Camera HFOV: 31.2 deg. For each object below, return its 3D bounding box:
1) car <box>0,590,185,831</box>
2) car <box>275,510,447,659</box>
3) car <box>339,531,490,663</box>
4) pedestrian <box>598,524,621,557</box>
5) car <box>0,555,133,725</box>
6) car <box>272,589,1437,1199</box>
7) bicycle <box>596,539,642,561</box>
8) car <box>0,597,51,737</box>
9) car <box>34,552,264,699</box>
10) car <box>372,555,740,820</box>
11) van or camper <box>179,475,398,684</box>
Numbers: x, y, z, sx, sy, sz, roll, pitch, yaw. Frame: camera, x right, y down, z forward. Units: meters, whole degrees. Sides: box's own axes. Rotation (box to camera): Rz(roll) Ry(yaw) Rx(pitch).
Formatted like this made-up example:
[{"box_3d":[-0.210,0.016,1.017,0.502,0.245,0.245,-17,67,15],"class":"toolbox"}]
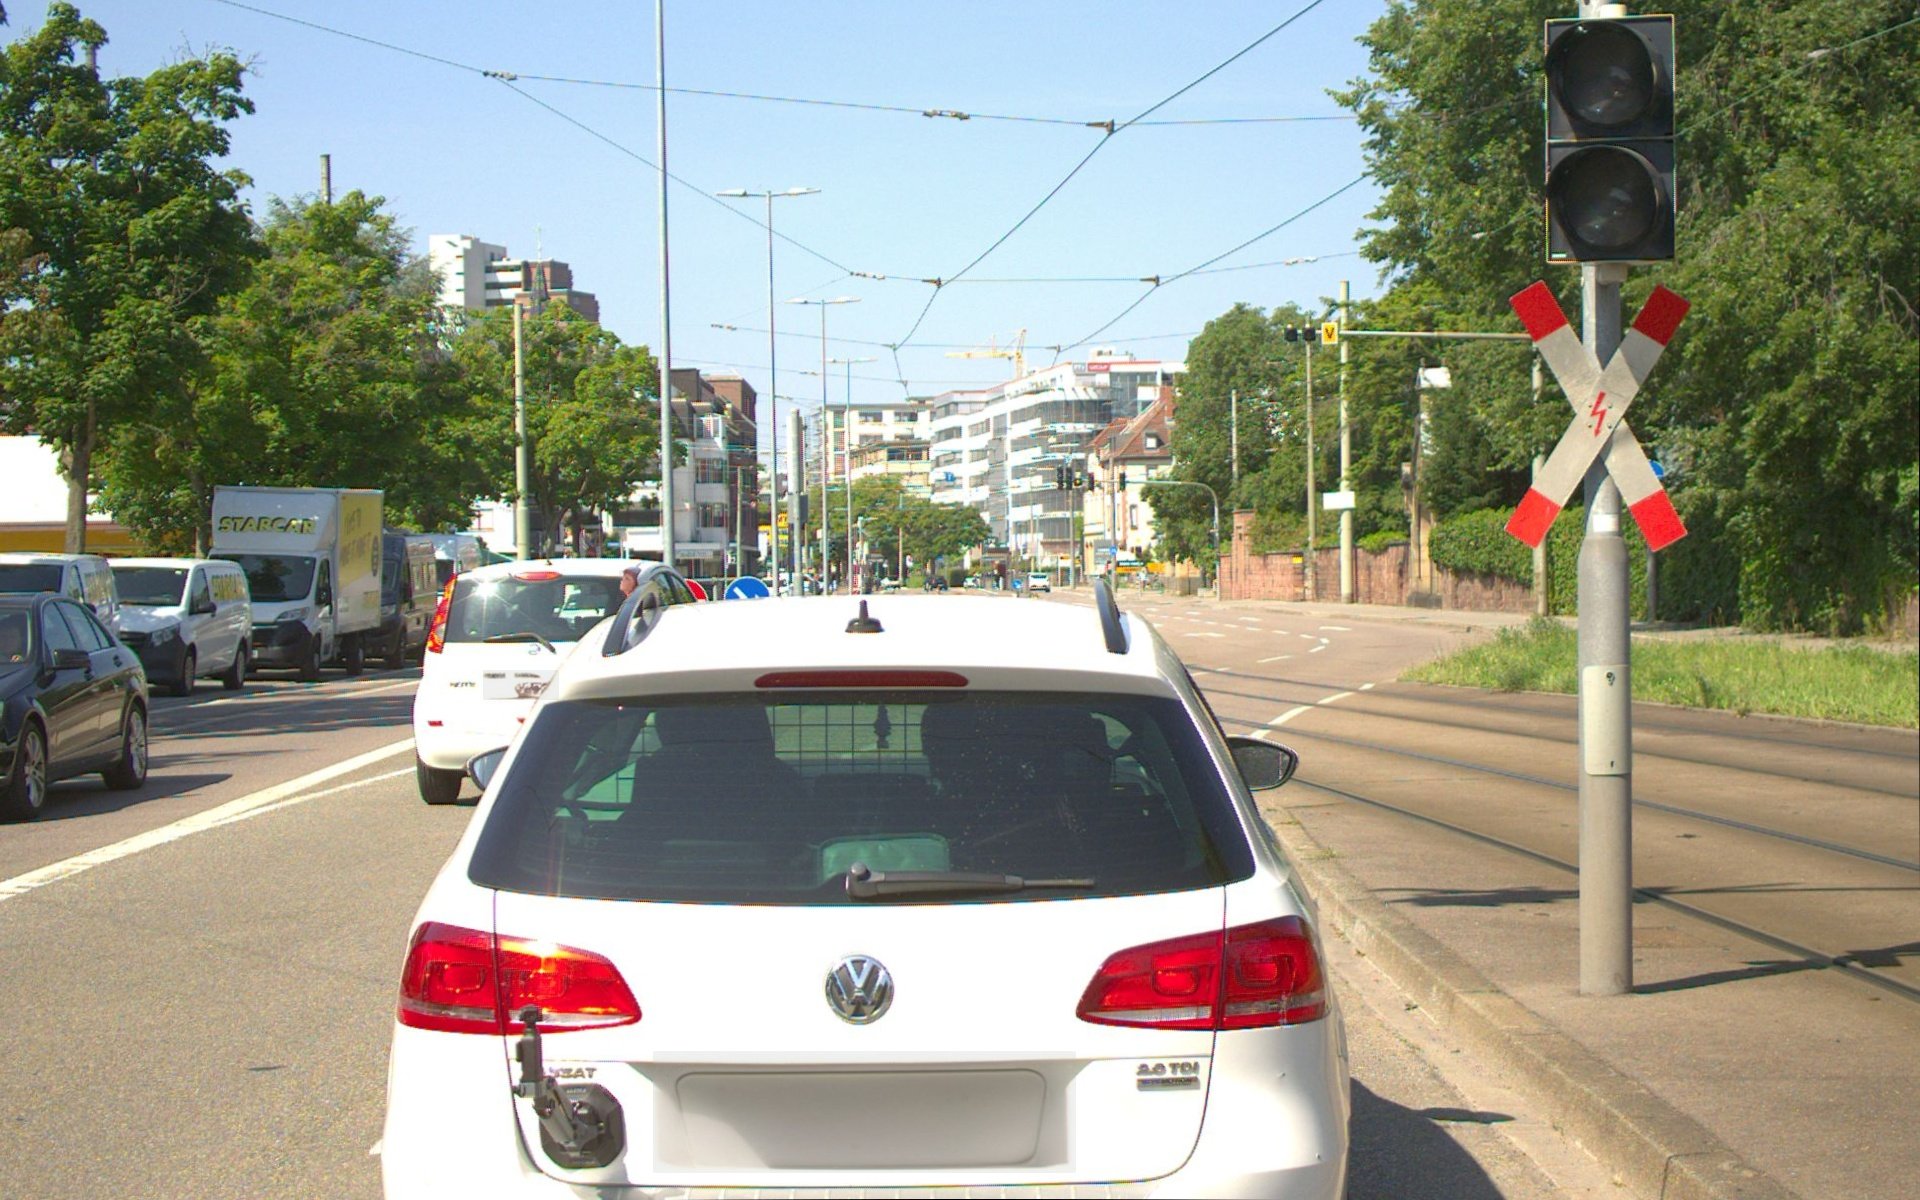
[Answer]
[{"box_3d":[-6.584,0.682,22.782,1.785,1.404,4.305,-2,1,1],"class":"car"},{"box_3d":[-11.285,-0.312,65.190,2.196,2.659,6.080,1,1,0],"class":"car"},{"box_3d":[-11.349,-0.090,71.908,2.196,2.622,5.979,1,1,0],"class":"car"},{"box_3d":[-15.683,-2.660,153.643,0.566,1.482,0.814,-1,1,43],"class":"pedestrian"},{"box_3d":[-11.650,0.455,41.953,2.195,1.934,5.186,-1,0,-5],"class":"car"},{"box_3d":[-0.167,0.752,7.238,1.778,1.485,3.847,1,1,0],"class":"car"},{"box_3d":[-15.208,-2.227,153.316,0.553,0.918,2.172,-1,1,43],"class":"bicycle"},{"box_3d":[-11.025,0.732,35.627,1.932,1.450,4.886,-1,1,-1],"class":"car"},{"box_3d":[-11.464,0.320,48.972,2.195,1.934,5.185,-1,0,-2],"class":"car"},{"box_3d":[-2.563,0.513,22.698,1.730,1.591,4.010,0,0,3],"class":"car"},{"box_3d":[-11.073,-0.355,57.258,2.196,3.230,6.772,1,1,1],"class":"van or camper"}]
